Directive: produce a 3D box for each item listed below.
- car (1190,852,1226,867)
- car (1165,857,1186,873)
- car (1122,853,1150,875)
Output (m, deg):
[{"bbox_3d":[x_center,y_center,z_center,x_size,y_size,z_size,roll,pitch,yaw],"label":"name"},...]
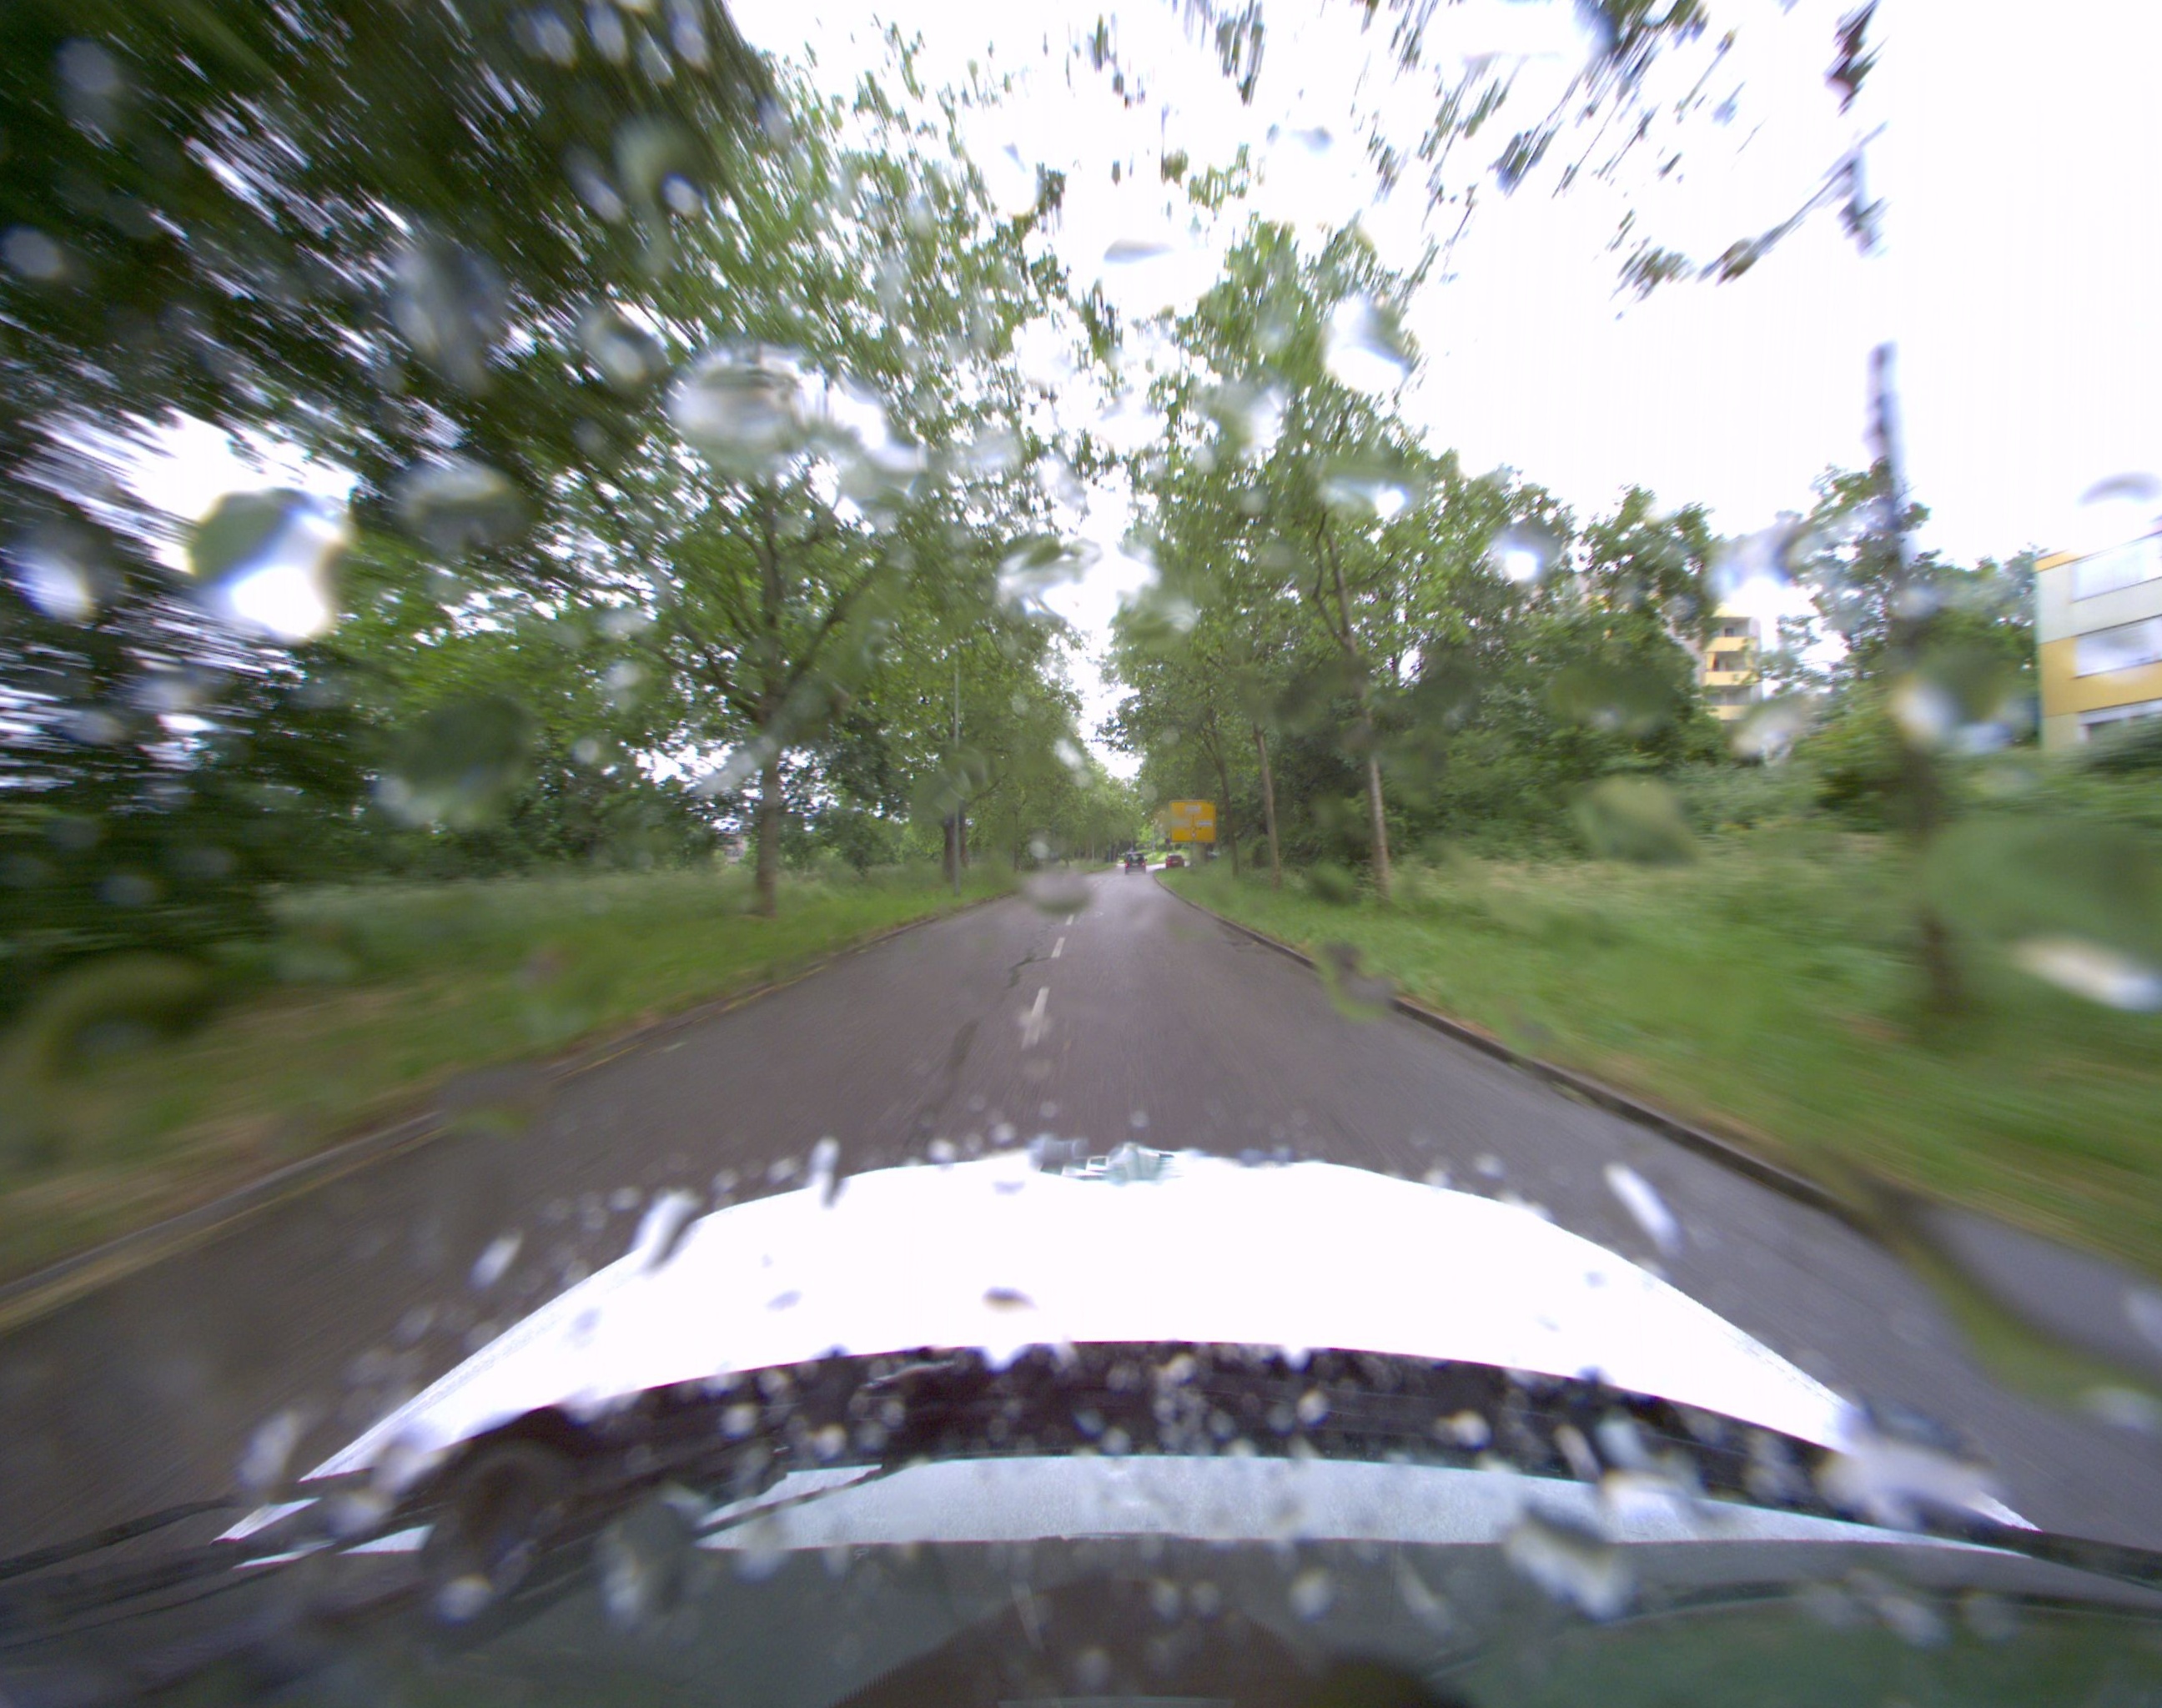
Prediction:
[{"bbox_3d":[15.827,0.644,101.544,4.445,1.680,1.772,-1,1,8],"label":"car"},{"bbox_3d":[8.783,0.997,75.762,1.788,1.372,3.751,-3,-1,7],"label":"car"},{"bbox_3d":[4.749,0.854,70.058,1.906,1.801,3.802,0,0,12],"label":"car"}]
